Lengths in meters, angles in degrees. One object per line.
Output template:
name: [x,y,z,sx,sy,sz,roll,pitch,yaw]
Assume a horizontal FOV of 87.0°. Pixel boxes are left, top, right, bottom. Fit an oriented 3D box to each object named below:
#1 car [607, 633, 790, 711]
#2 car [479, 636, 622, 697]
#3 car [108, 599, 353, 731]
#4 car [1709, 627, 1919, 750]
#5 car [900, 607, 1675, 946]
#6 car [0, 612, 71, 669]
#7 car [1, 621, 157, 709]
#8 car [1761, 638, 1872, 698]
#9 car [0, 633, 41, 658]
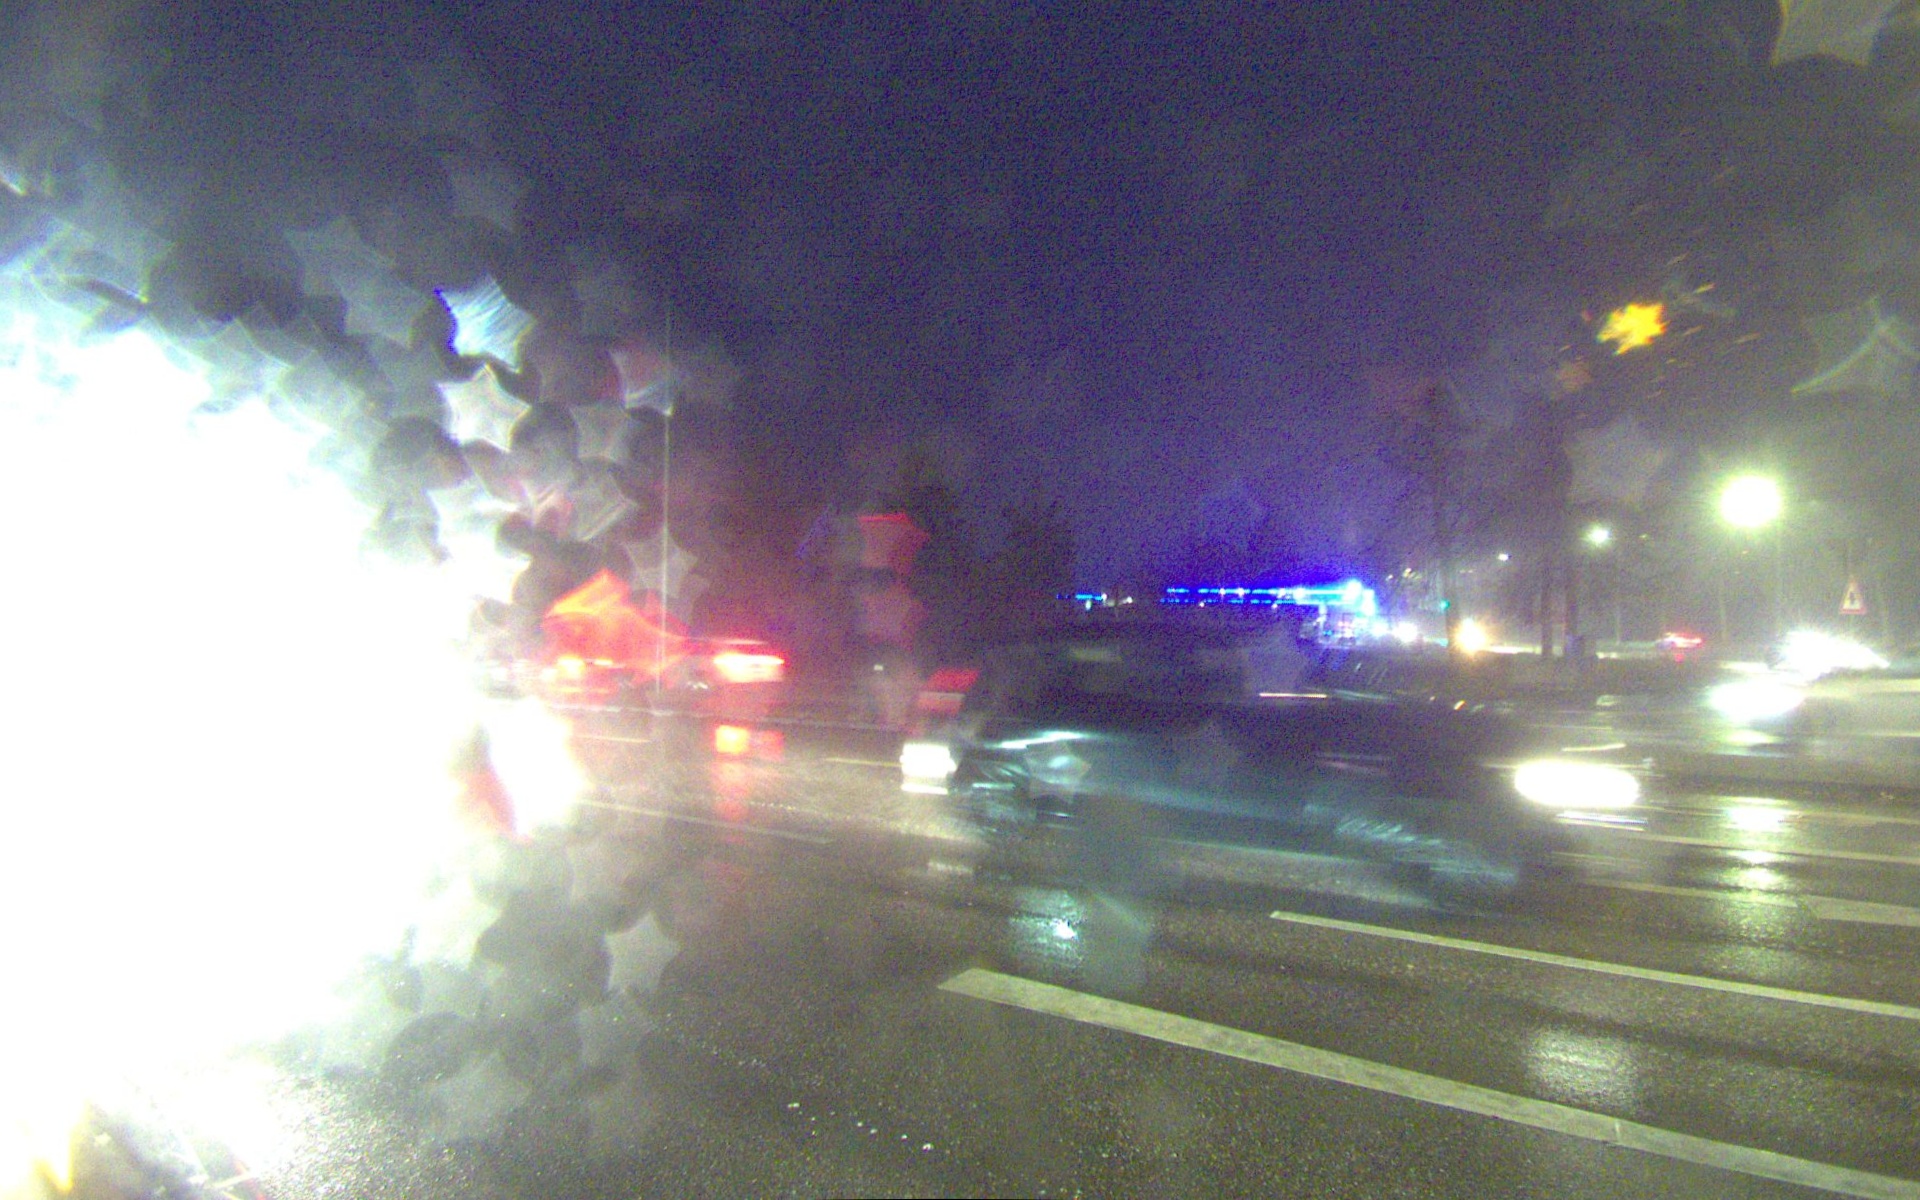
car: [-6.504,1.712,25.022,4.447,1.733,1.885,-1,-3,34]
car: [-13.273,2.104,32.710,4.774,1.806,2.012,-2,-2,35]
car: [-11.696,0.977,16.106,4.715,1.807,1.974,-3,-1,39]
car: [12.449,1.095,12.627,4.770,1.474,1.912,-1,-3,31]
car: [1.805,0.813,6.191,4.111,1.419,1.815,-2,-2,35]
car: [-26.133,1.081,28.062,4.172,1.456,1.658,-1,-1,41]
car: [-19.053,1.332,21.832,4.233,1.607,1.766,1,-1,39]
car: [33.554,2.621,39.778,1.647,2.095,3.983,-1,0,13]
car: [-70.236,3.366,75.455,4.633,1.751,1.835,-1,-1,38]
